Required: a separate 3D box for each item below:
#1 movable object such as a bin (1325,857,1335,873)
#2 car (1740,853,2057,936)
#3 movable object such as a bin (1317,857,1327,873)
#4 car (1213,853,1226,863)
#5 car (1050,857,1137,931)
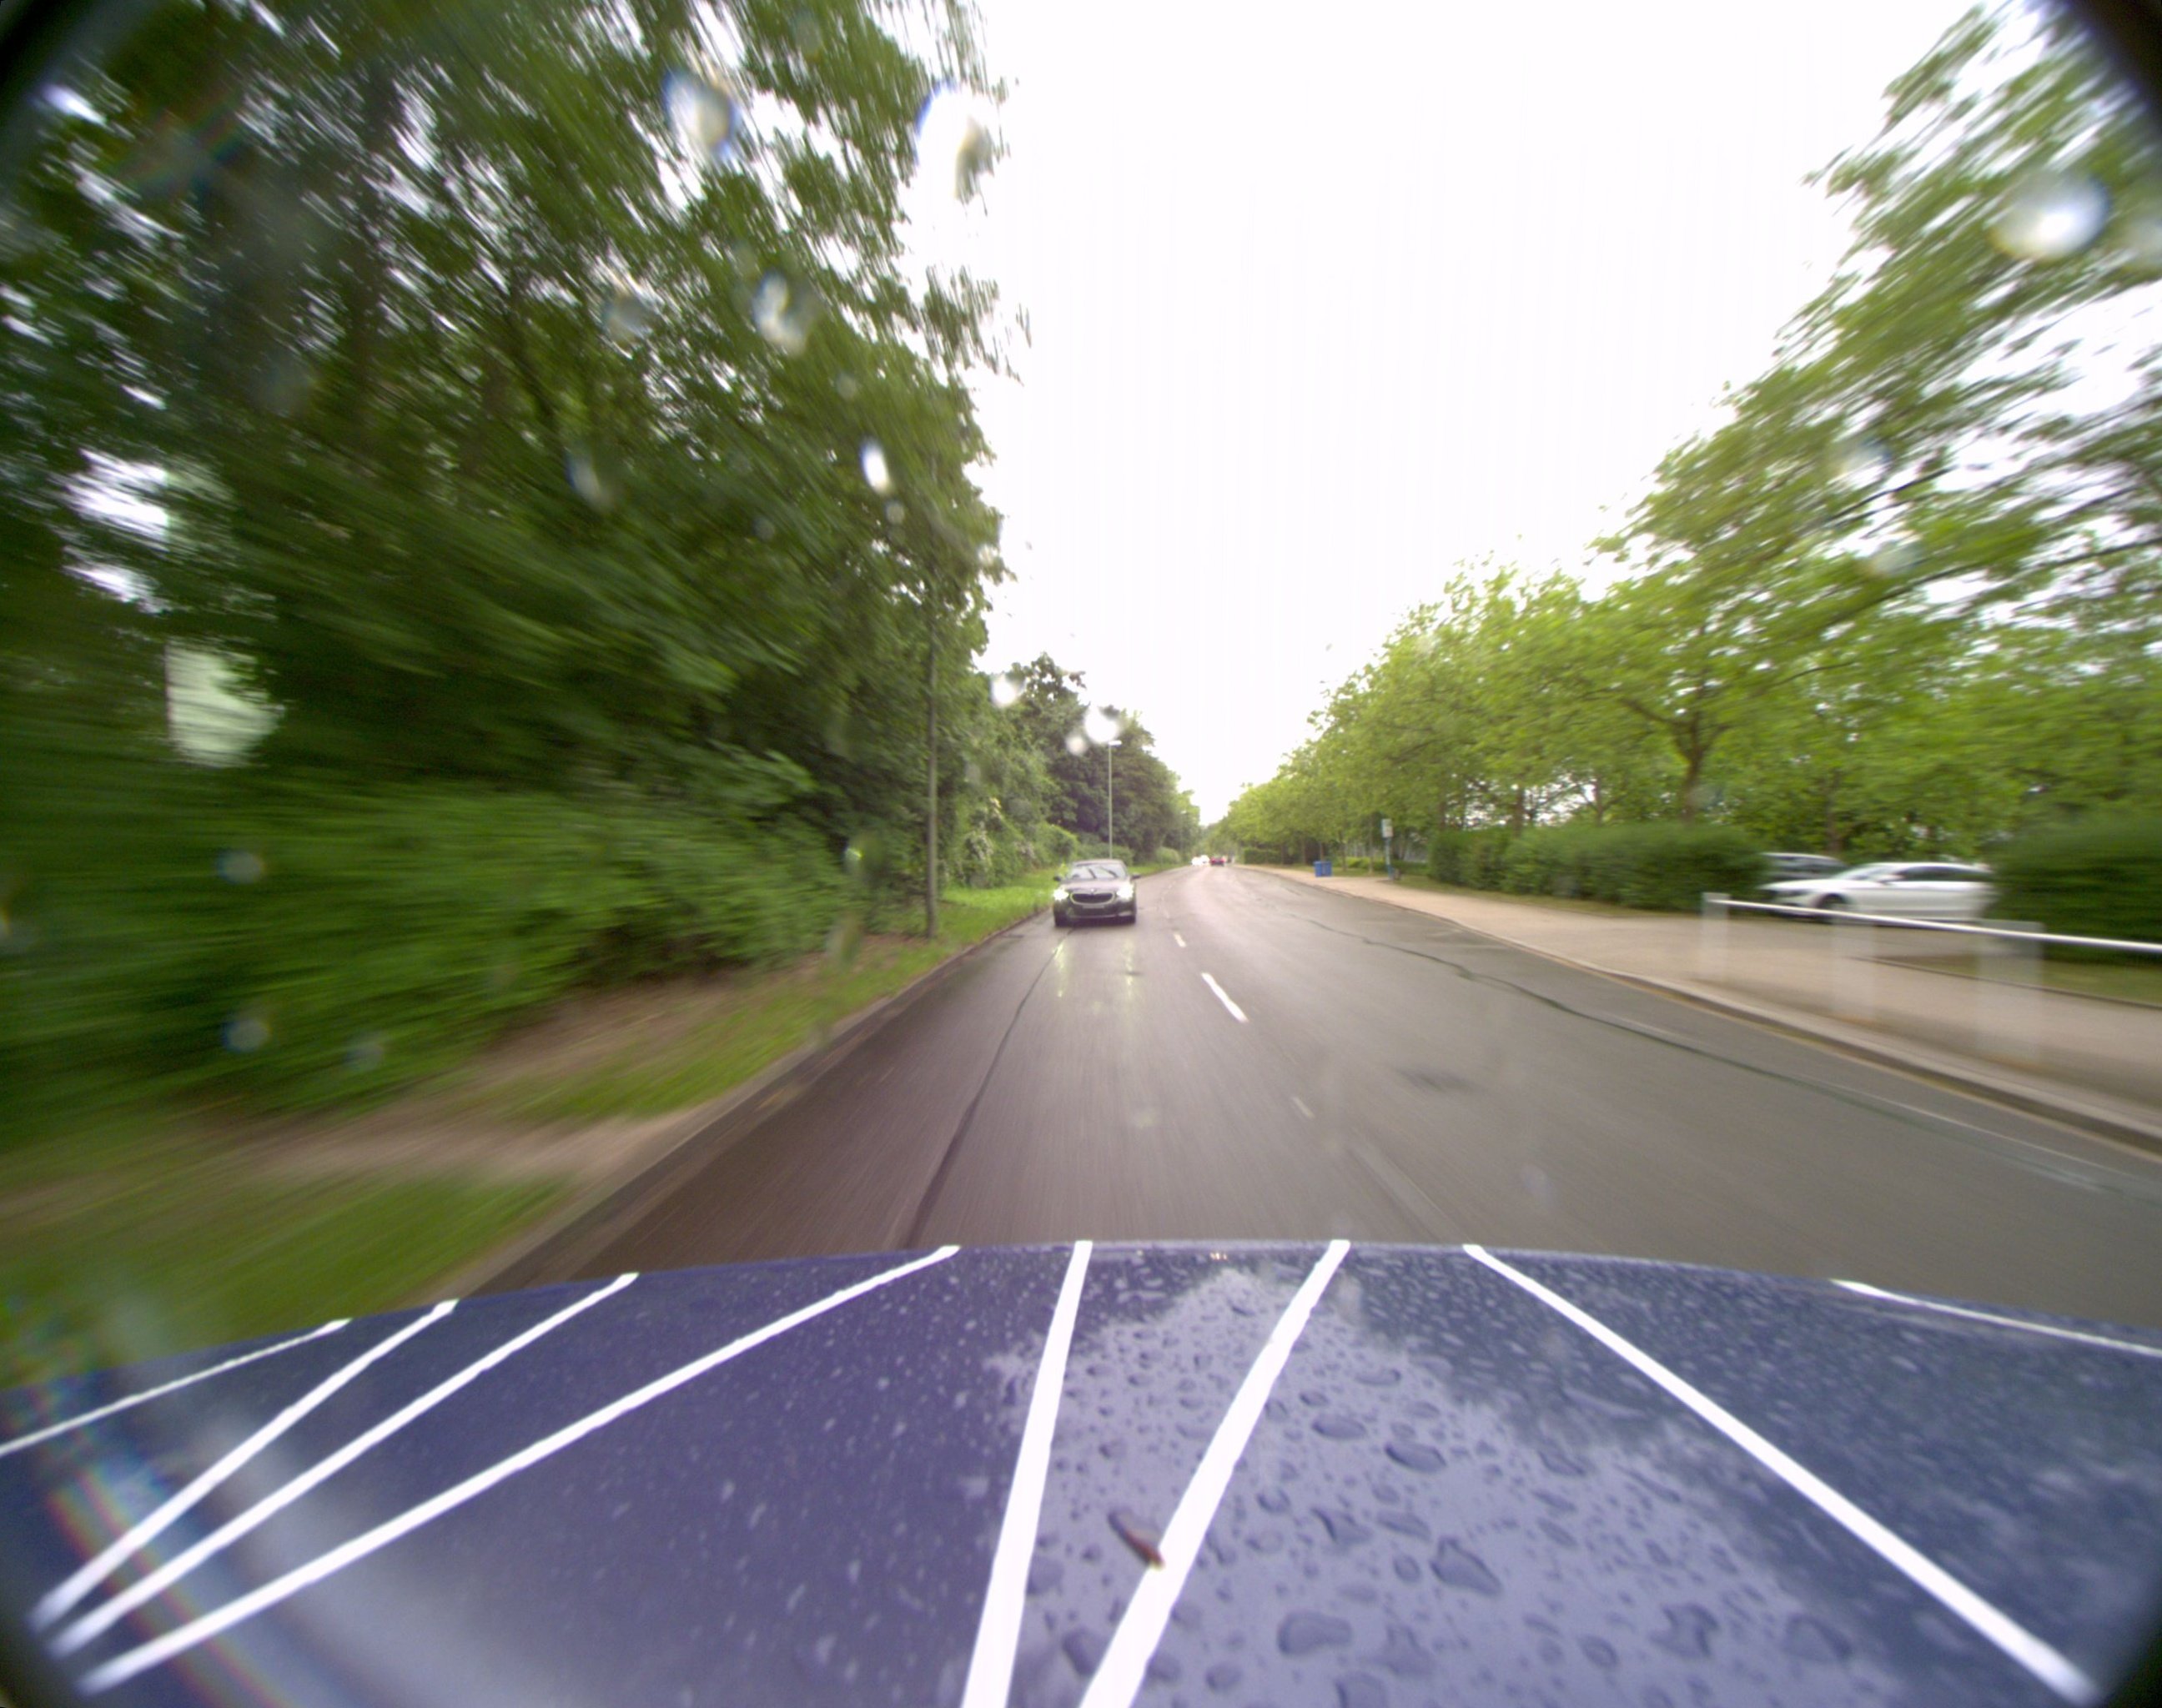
[{"bbox_3d":[17.558,0.784,53.531,0.567,1.092,0.672,-3,0,12],"label":"movable object such as a bin"},{"bbox_3d":[18.024,0.838,17.033,4.503,1.501,1.802,3,1,16],"label":"car"},{"bbox_3d":[16.930,0.804,53.470,0.567,1.092,0.672,-3,0,12],"label":"movable object such as a bin"},{"bbox_3d":[19.881,0.571,108.913,1.829,1.456,4.003,1,1,11],"label":"car"},{"bbox_3d":[0.358,0.885,18.753,1.832,1.499,4.499,-2,0,2],"label":"car"}]
